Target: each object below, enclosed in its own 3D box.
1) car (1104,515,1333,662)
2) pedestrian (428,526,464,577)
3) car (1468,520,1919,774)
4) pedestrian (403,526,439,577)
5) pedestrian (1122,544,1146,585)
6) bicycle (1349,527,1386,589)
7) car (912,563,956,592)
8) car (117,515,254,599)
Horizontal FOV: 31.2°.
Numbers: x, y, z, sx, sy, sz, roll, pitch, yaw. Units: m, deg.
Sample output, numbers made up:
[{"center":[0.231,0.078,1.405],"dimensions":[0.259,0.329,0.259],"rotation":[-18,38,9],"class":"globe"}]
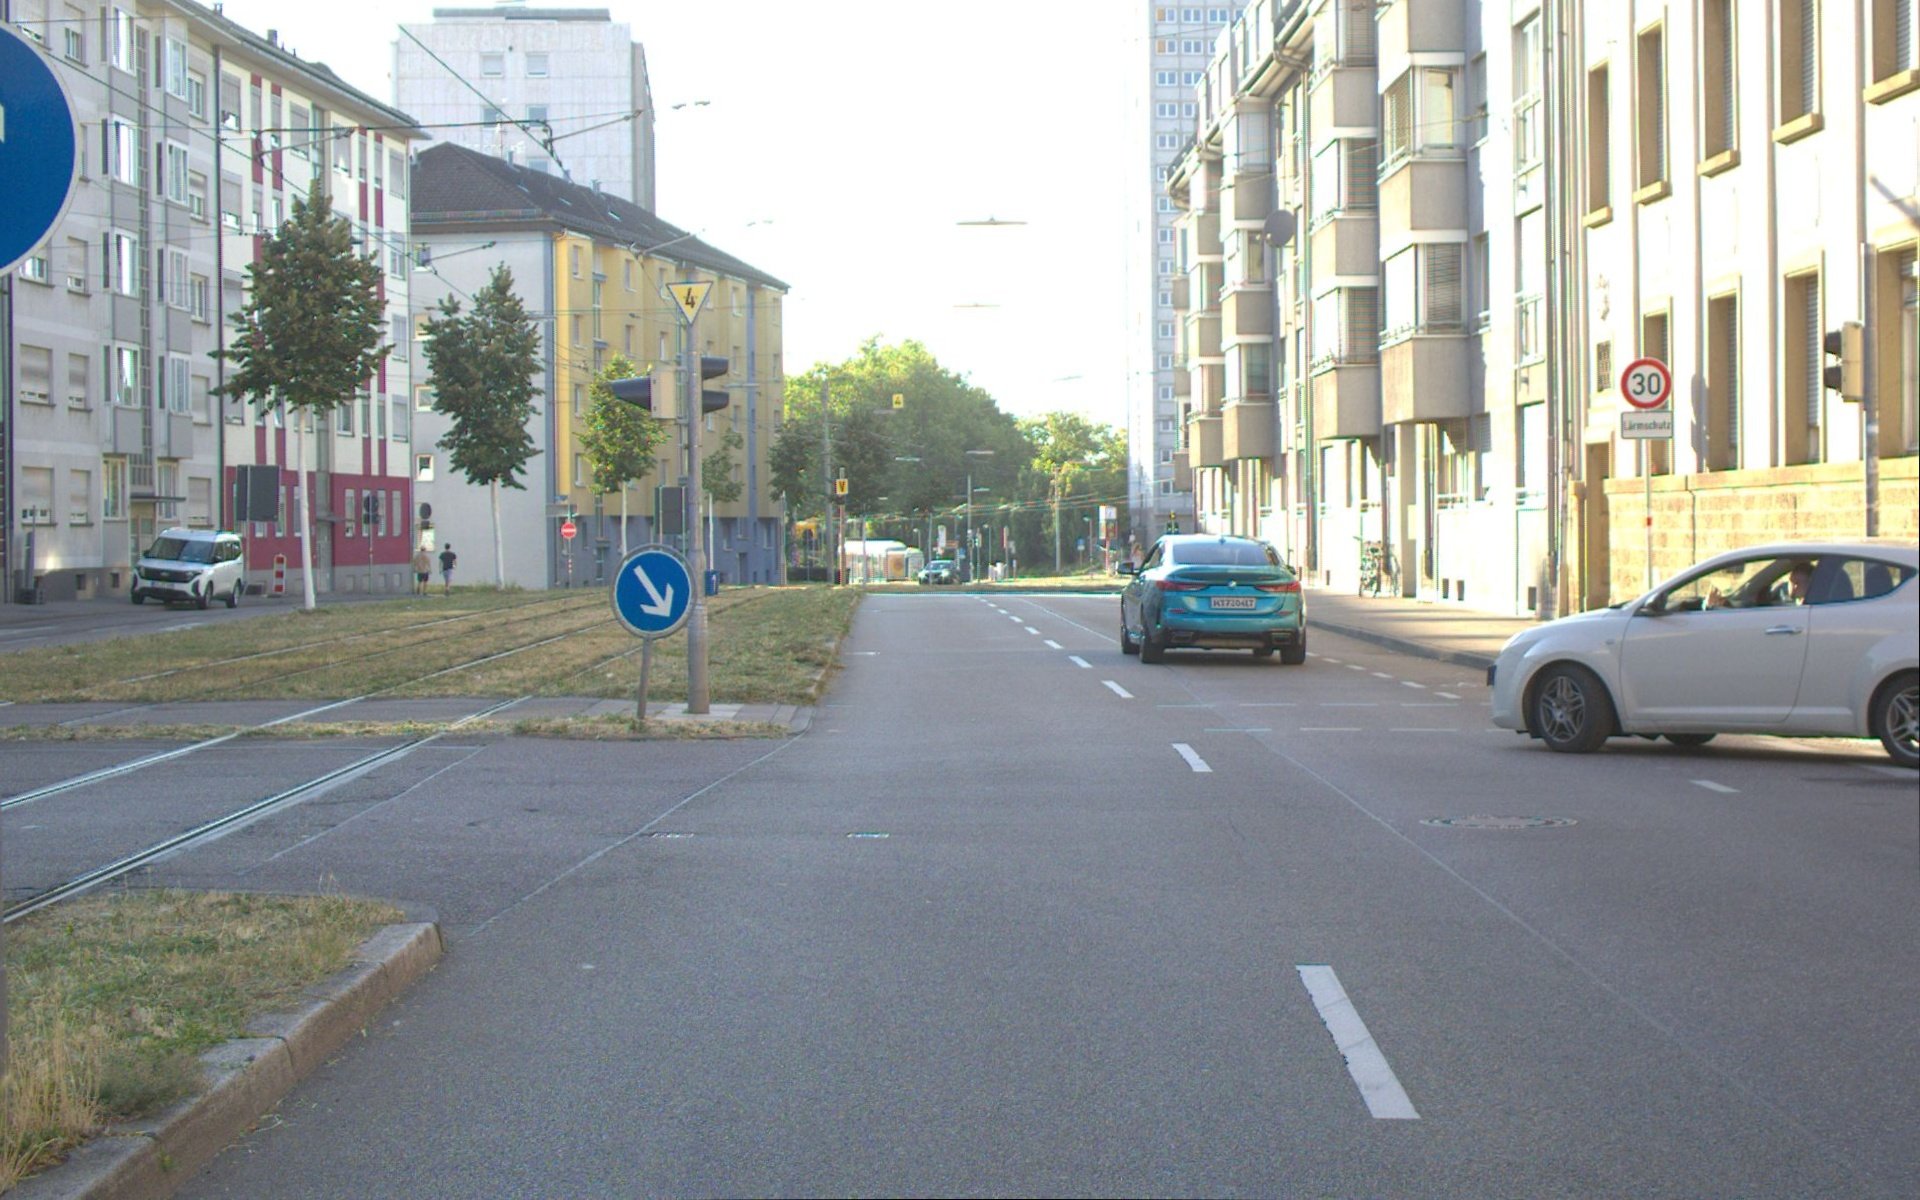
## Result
[{"center":[2.859,-0.143,38.997],"dimensions":[1.993,1.549,4.394],"rotation":[1,1,-4],"class":"car"},{"center":[-17.284,-1.629,115.576],"dimensions":[0.962,1.664,1.011],"rotation":[1,0,5],"class":"pedestrian"},{"center":[5.623,0.276,22.754],"dimensions":[3.996,1.558,1.995],"rotation":[1,1,40],"class":"car"},{"center":[-18.061,-1.636,115.250],"dimensions":[0.962,1.688,1.011],"rotation":[1,0,5],"class":"pedestrian"},{"center":[5.281,-1.089,104.405],"dimensions":[0.691,1.230,0.736],"rotation":[1,0,0],"class":"pedestrian"},{"center":[7.326,-0.752,61.843],"dimensions":[0.383,1.092,1.504],"rotation":[-1,1,-3],"class":"bicycle"},{"center":[-1.504,-1.313,200.747],"dimensions":[1.898,1.628,4.746],"rotation":[-1,1,8],"class":"car"},{"center":[-18.352,-1.008,81.665],"dimensions":[1.994,1.918,4.541],"rotation":[1,1,3],"class":"car"}]
